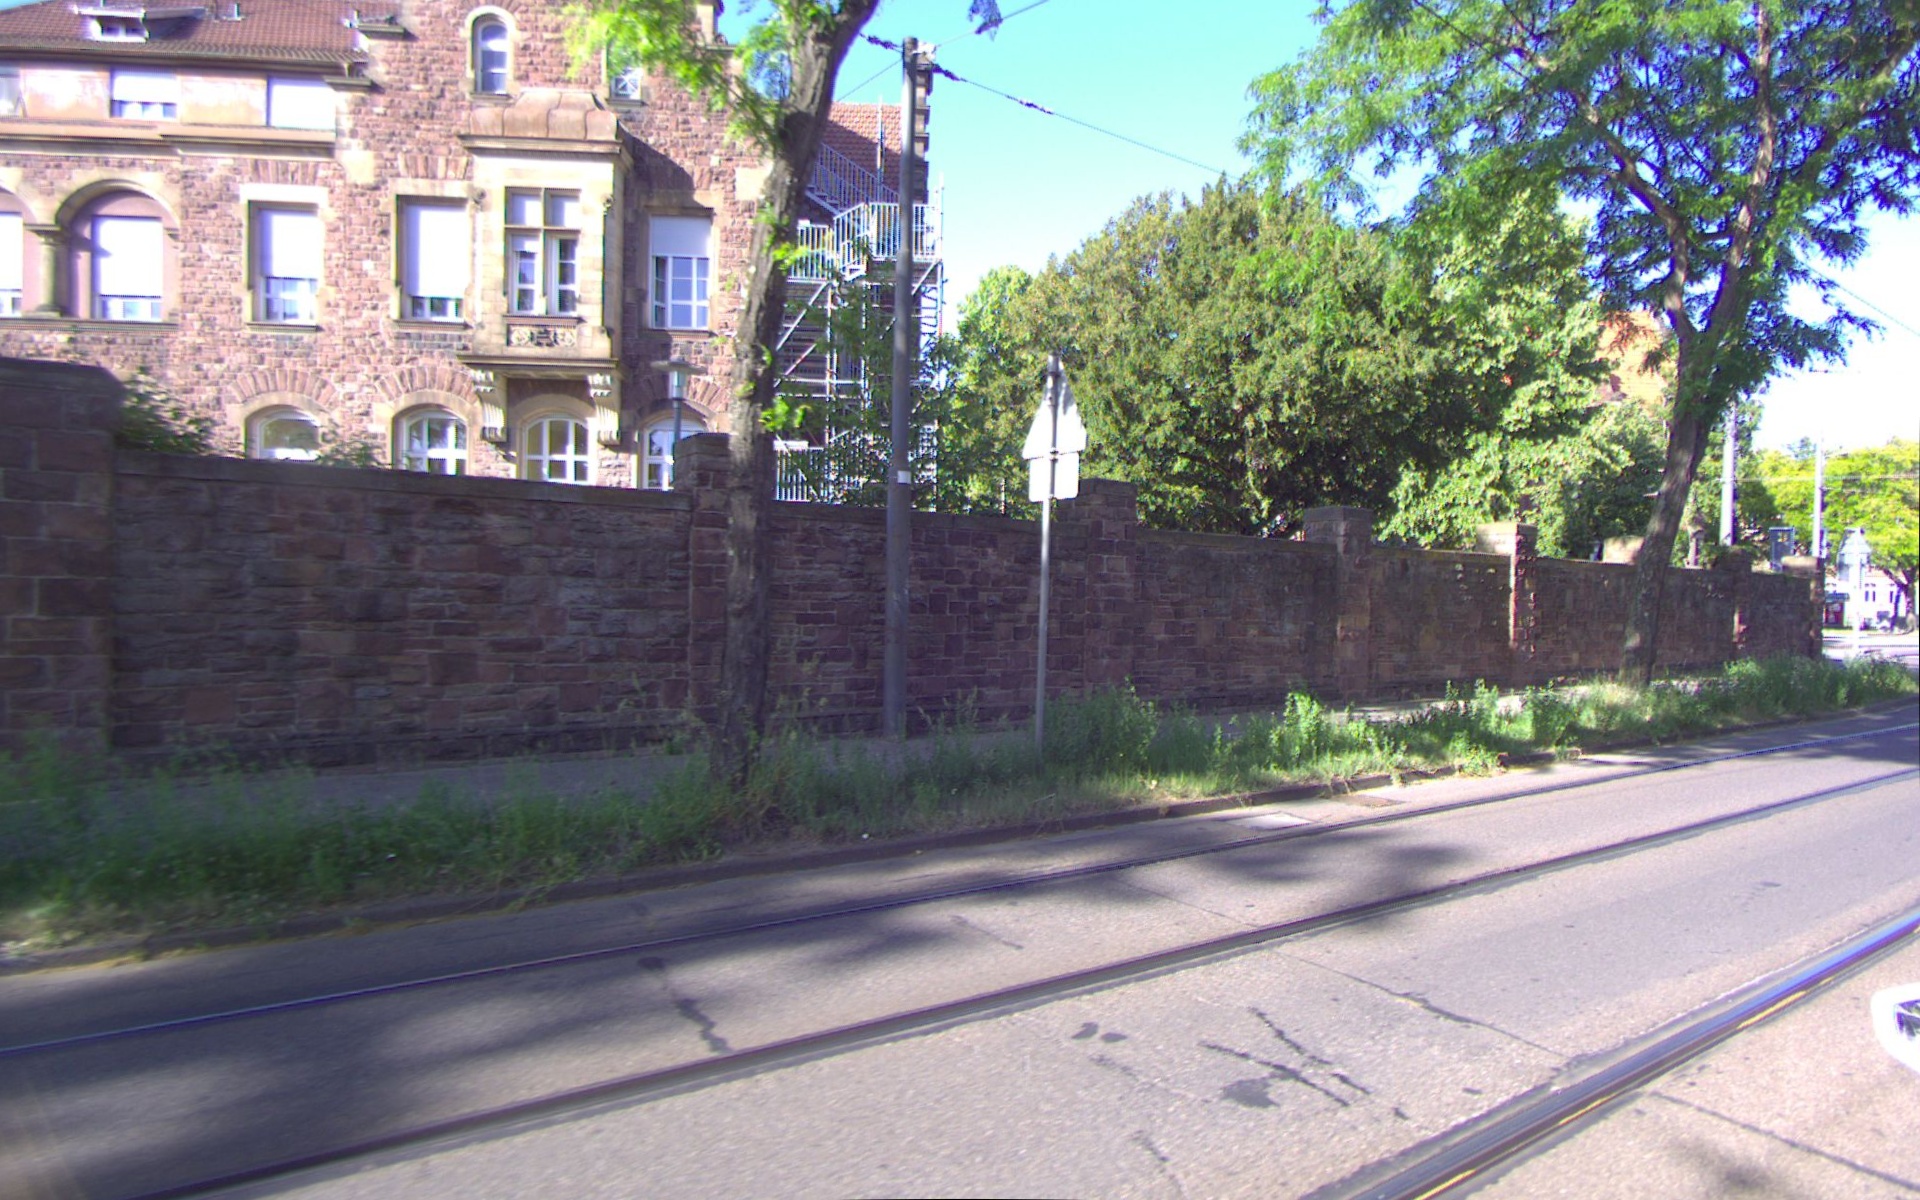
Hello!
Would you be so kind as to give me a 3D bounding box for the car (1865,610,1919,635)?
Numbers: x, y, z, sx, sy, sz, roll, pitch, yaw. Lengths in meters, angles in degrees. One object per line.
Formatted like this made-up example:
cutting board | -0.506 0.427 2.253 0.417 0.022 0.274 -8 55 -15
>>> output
car | 72.503 1.706 77.311 1.981 1.813 3.959 1 0 -36
